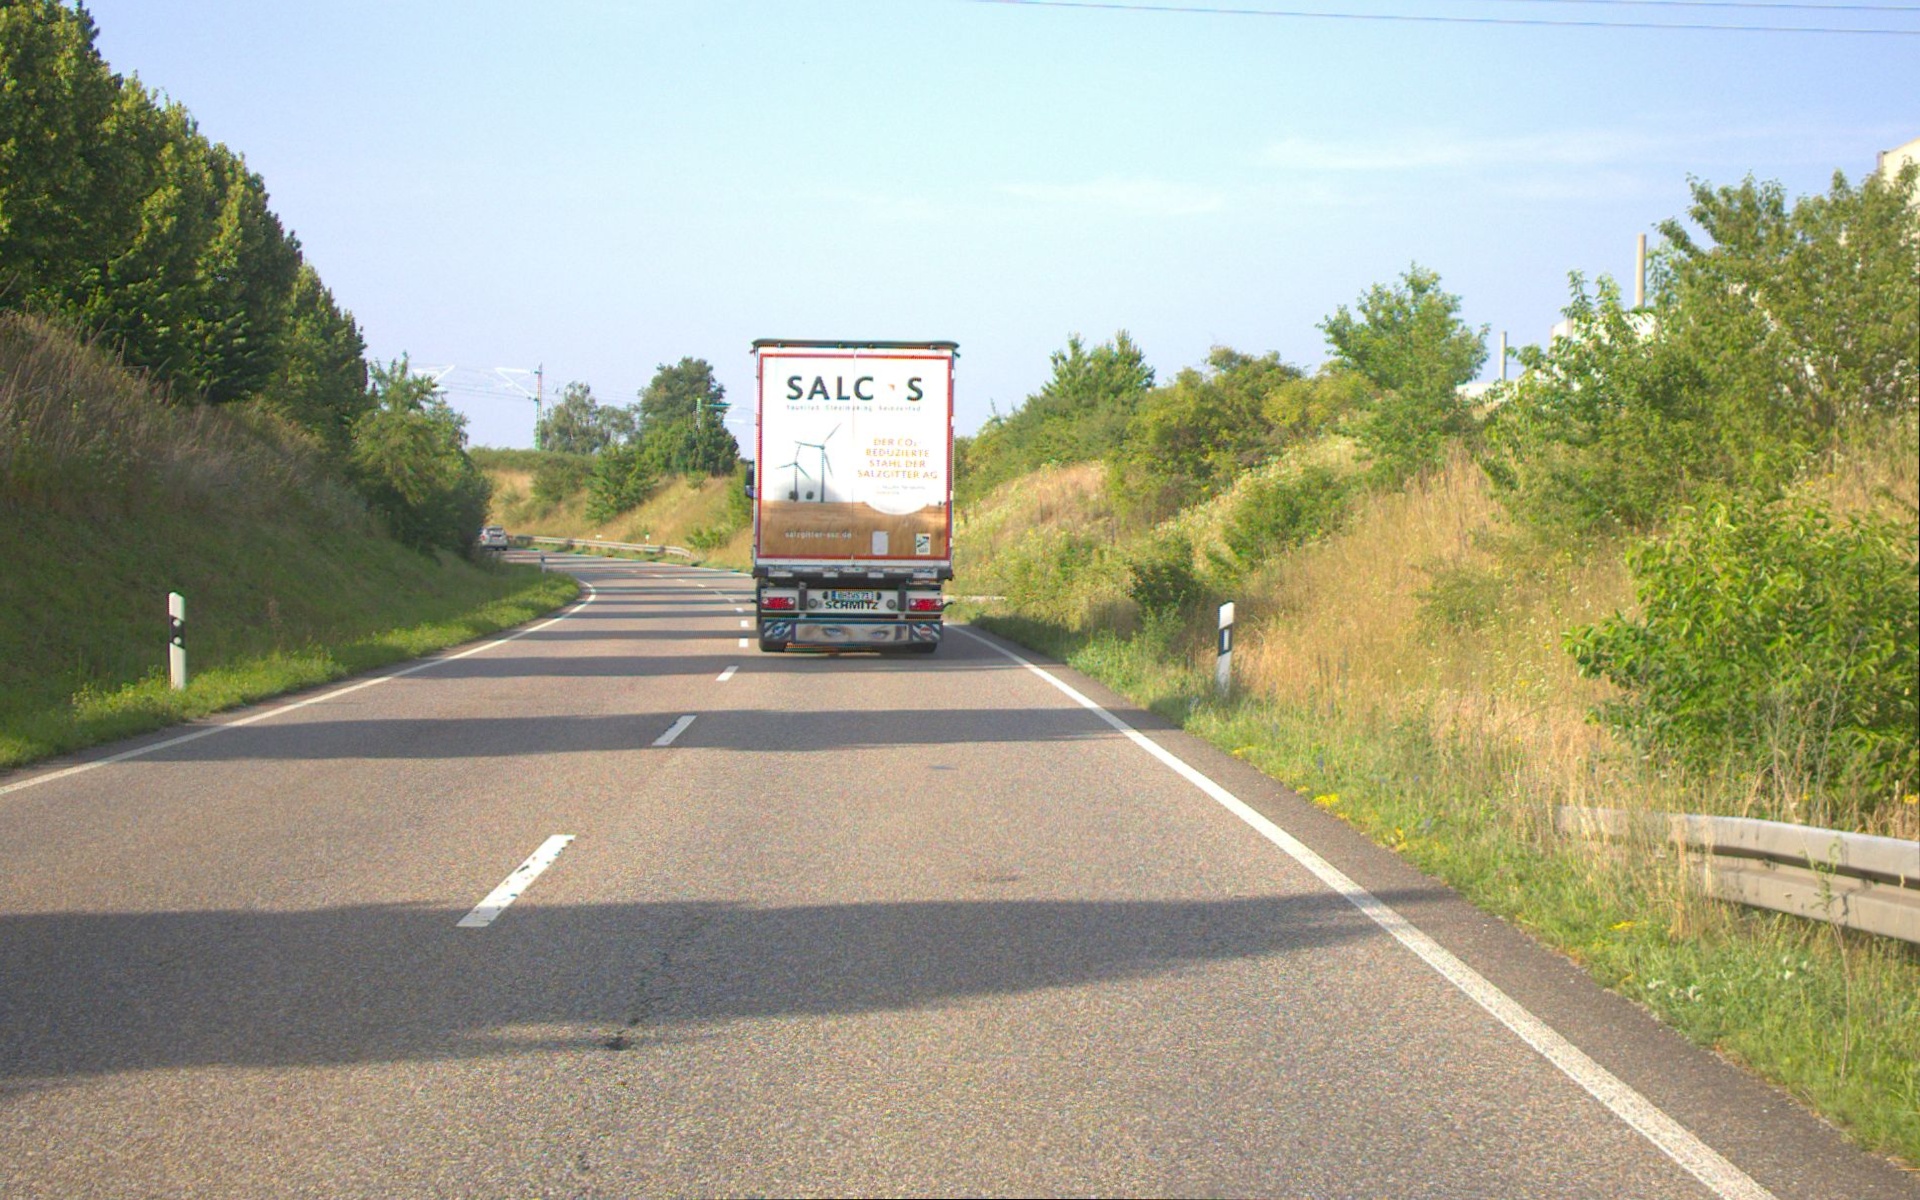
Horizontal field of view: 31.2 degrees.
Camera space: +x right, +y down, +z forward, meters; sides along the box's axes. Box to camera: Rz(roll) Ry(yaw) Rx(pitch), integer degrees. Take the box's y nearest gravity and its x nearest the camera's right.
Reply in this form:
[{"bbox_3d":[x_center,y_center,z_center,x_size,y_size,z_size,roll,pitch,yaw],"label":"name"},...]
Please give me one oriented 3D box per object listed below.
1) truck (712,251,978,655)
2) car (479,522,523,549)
[{"bbox_3d":[-1.600,-2.029,49.501,3.290,5.072,12.039,1,2,-1],"label":"truck"},{"bbox_3d":[-27.960,-3.958,209.524,2.046,1.576,4.360,1,1,0],"label":"car"}]
